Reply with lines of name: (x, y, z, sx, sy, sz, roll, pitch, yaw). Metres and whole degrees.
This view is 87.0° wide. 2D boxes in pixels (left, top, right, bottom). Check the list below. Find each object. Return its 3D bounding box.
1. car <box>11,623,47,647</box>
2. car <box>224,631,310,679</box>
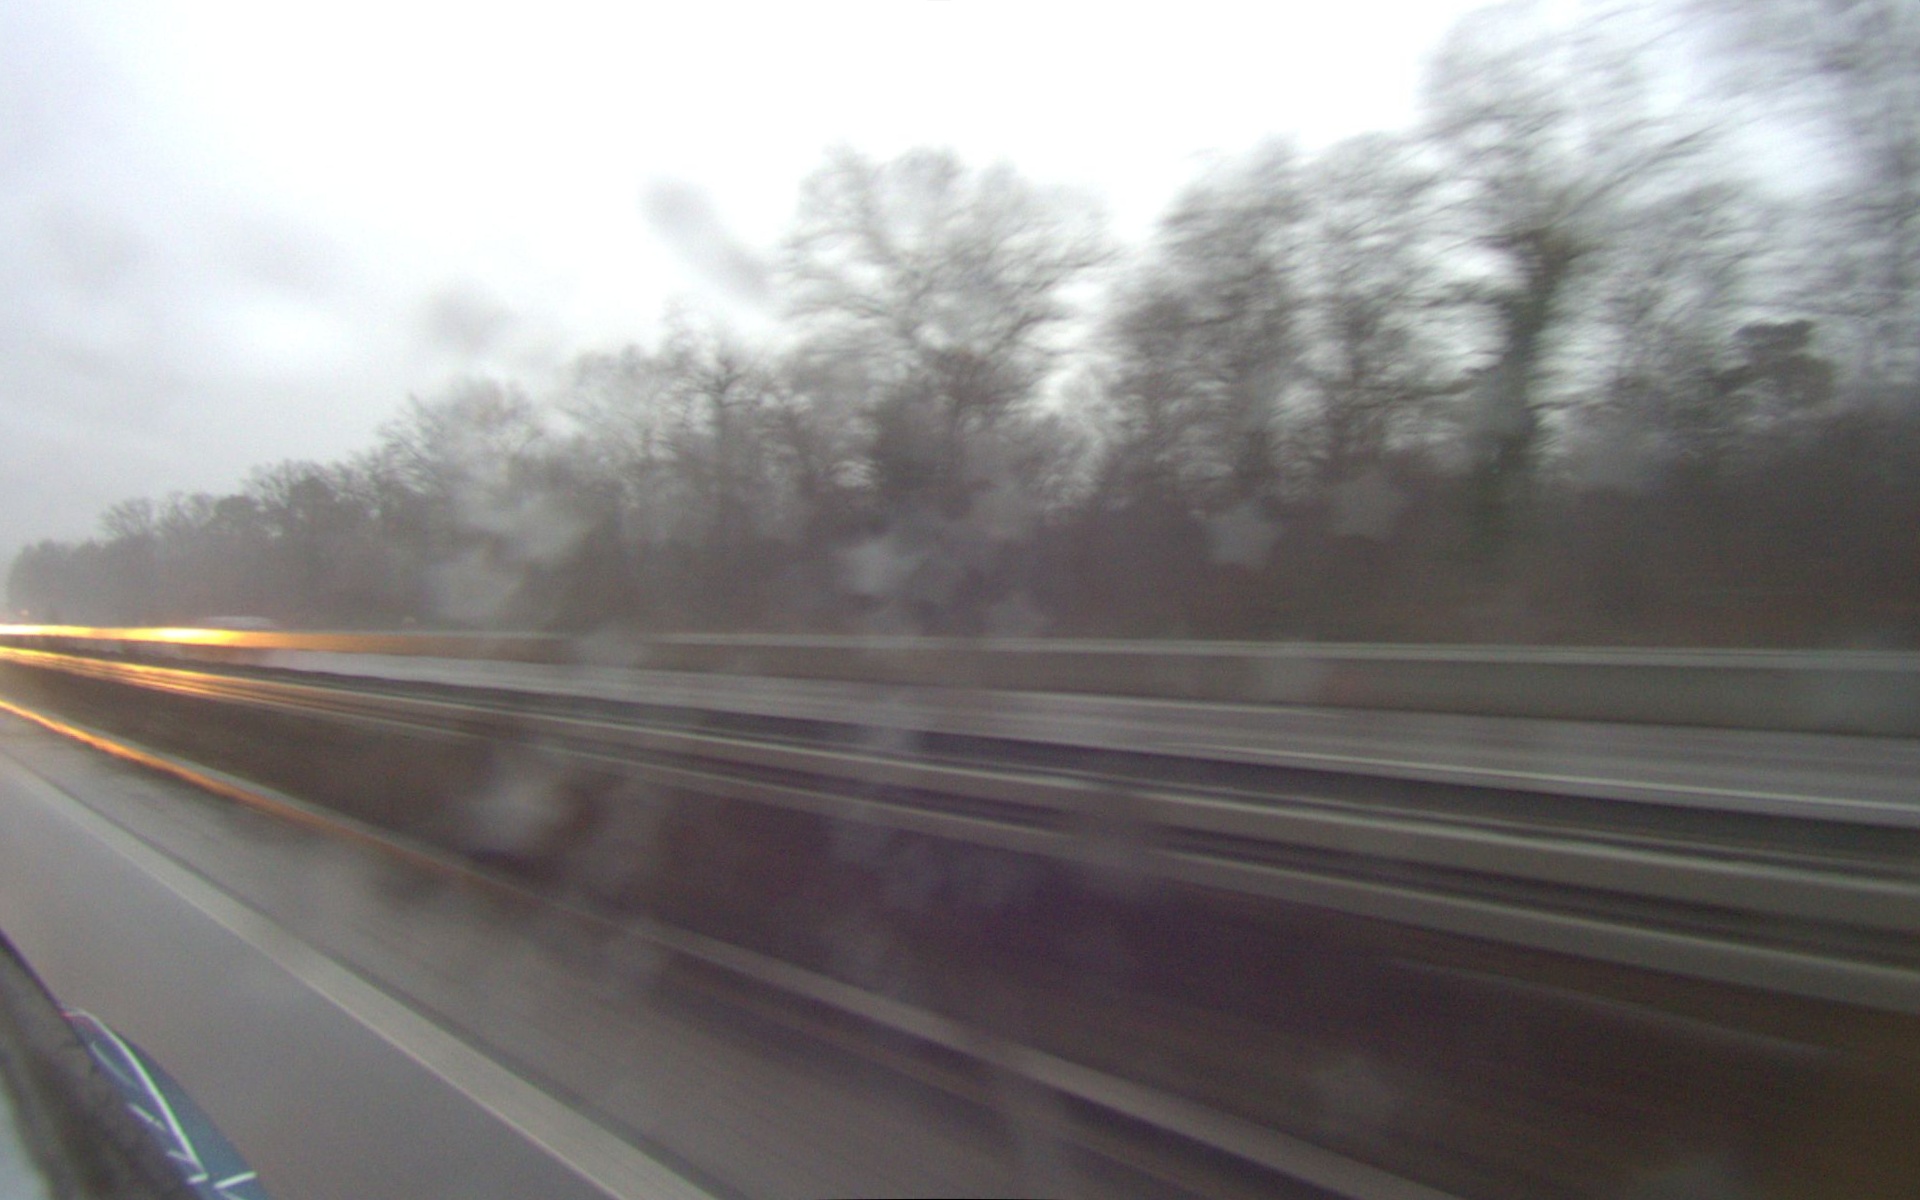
car: (-76.144, 2.810, 82.749, 3.910, 1.849, 1.739, -1, 0, 41)
car: (-19.063, 1.477, 27.815, 2.880, 1.177, 1.260, -1, 0, 41)
